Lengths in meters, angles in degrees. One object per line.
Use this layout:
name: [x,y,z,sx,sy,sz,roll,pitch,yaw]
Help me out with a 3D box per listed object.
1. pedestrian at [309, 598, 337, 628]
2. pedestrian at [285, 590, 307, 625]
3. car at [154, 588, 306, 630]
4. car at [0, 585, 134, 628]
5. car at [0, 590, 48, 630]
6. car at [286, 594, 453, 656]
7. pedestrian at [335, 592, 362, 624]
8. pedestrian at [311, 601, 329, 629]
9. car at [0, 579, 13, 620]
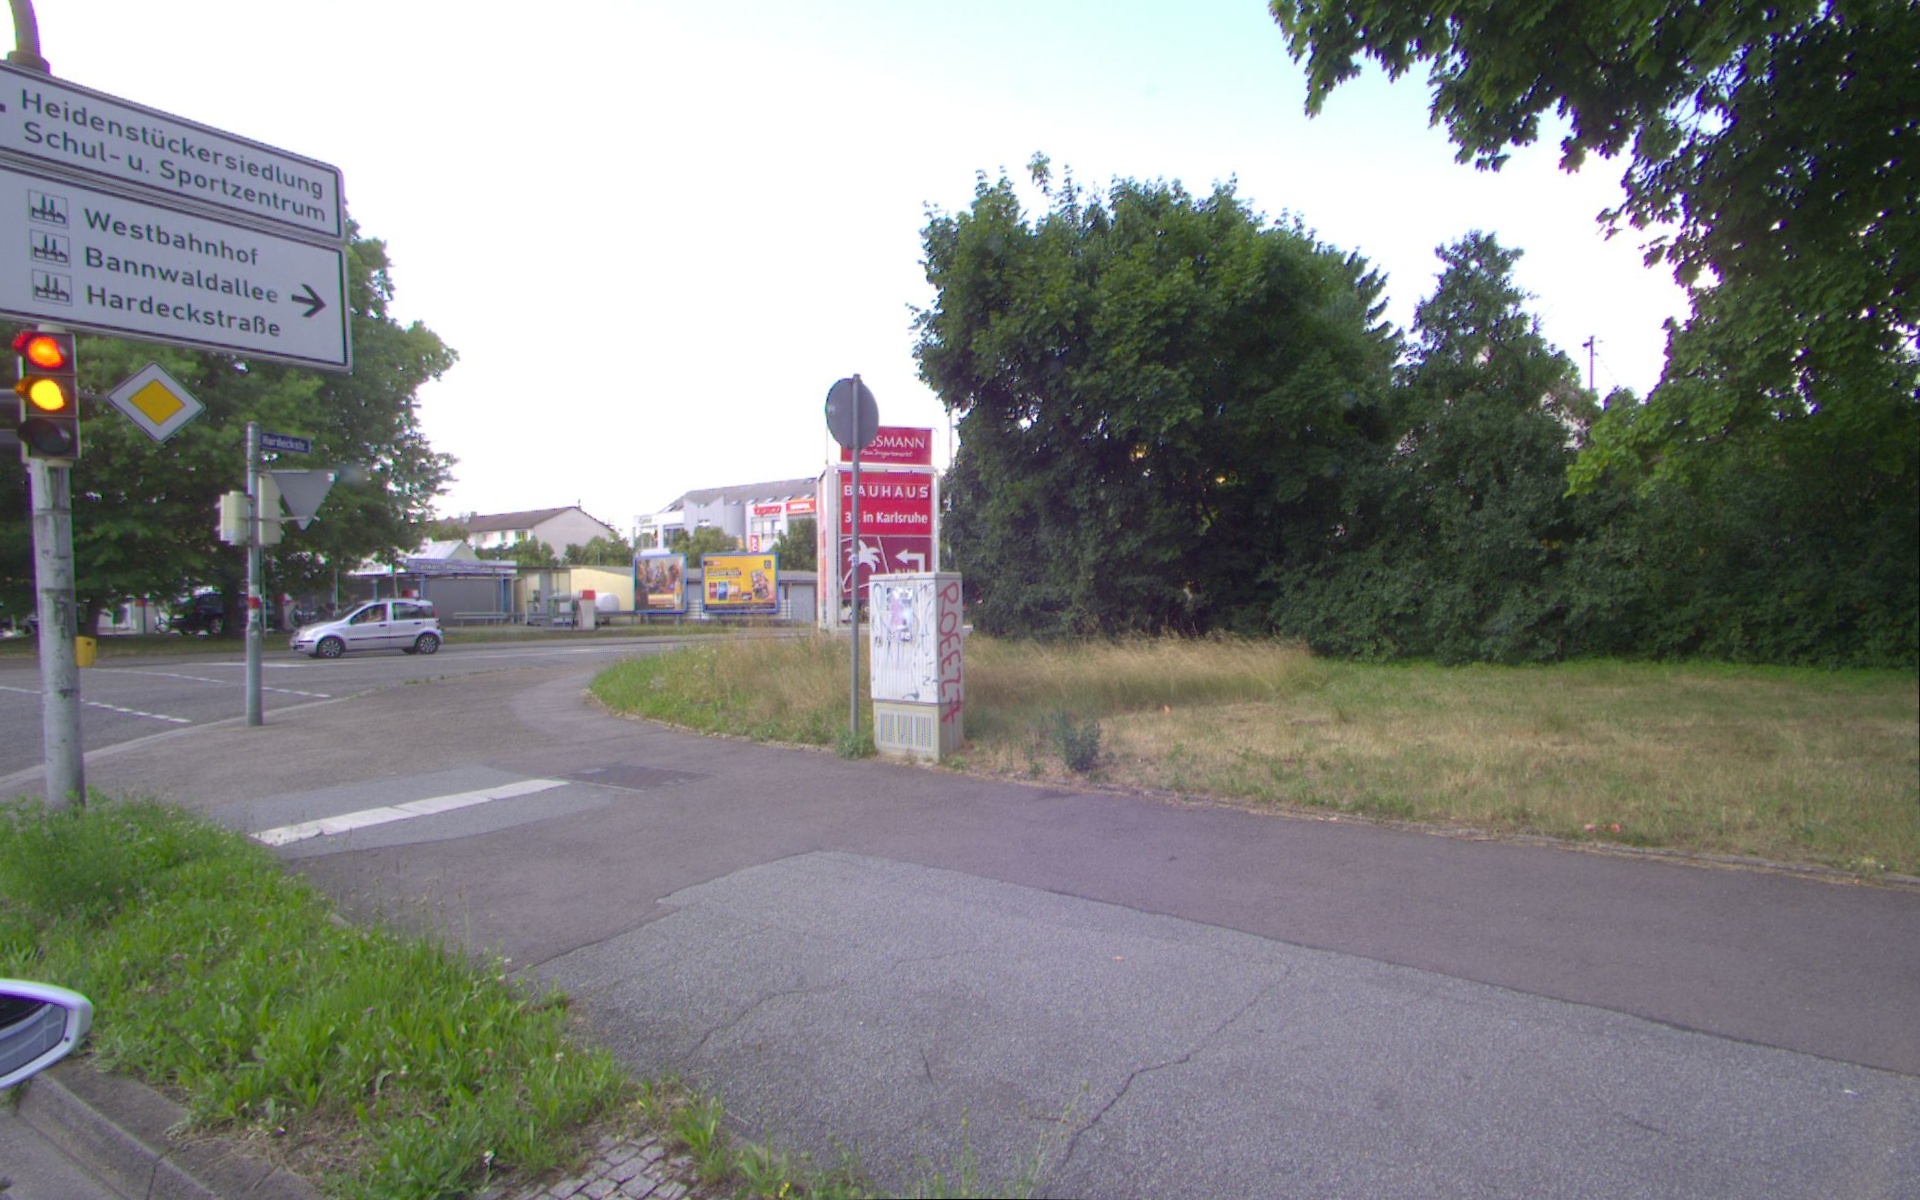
pedestrian: [-25.340,0.527,39.853,0.752,1.205,0.645,0,-1,-12]
pedestrian: [-28.969,0.344,43.702,0.610,1.514,0.560,-1,-1,25]
car: [-29.534,0.337,40.709,2.117,1.617,4.552,-1,0,22]
car: [-40.961,0.277,45.257,2.117,1.851,5.184,-1,0,22]
car: [-50.137,0.509,50.908,2.121,2.031,5.174,0,0,29]
car: [-15.789,0.617,26.874,1.543,1.537,3.574,0,0,45]
pedestrian: [-24.493,0.338,40.099,0.752,1.271,0.645,0,-1,-12]
pedestrian: [-36.395,0.856,56.928,0.616,1.565,0.651,0,1,39]
car: [-61.213,-0.013,62.376,5.665,2.486,1.747,-1,1,31]
